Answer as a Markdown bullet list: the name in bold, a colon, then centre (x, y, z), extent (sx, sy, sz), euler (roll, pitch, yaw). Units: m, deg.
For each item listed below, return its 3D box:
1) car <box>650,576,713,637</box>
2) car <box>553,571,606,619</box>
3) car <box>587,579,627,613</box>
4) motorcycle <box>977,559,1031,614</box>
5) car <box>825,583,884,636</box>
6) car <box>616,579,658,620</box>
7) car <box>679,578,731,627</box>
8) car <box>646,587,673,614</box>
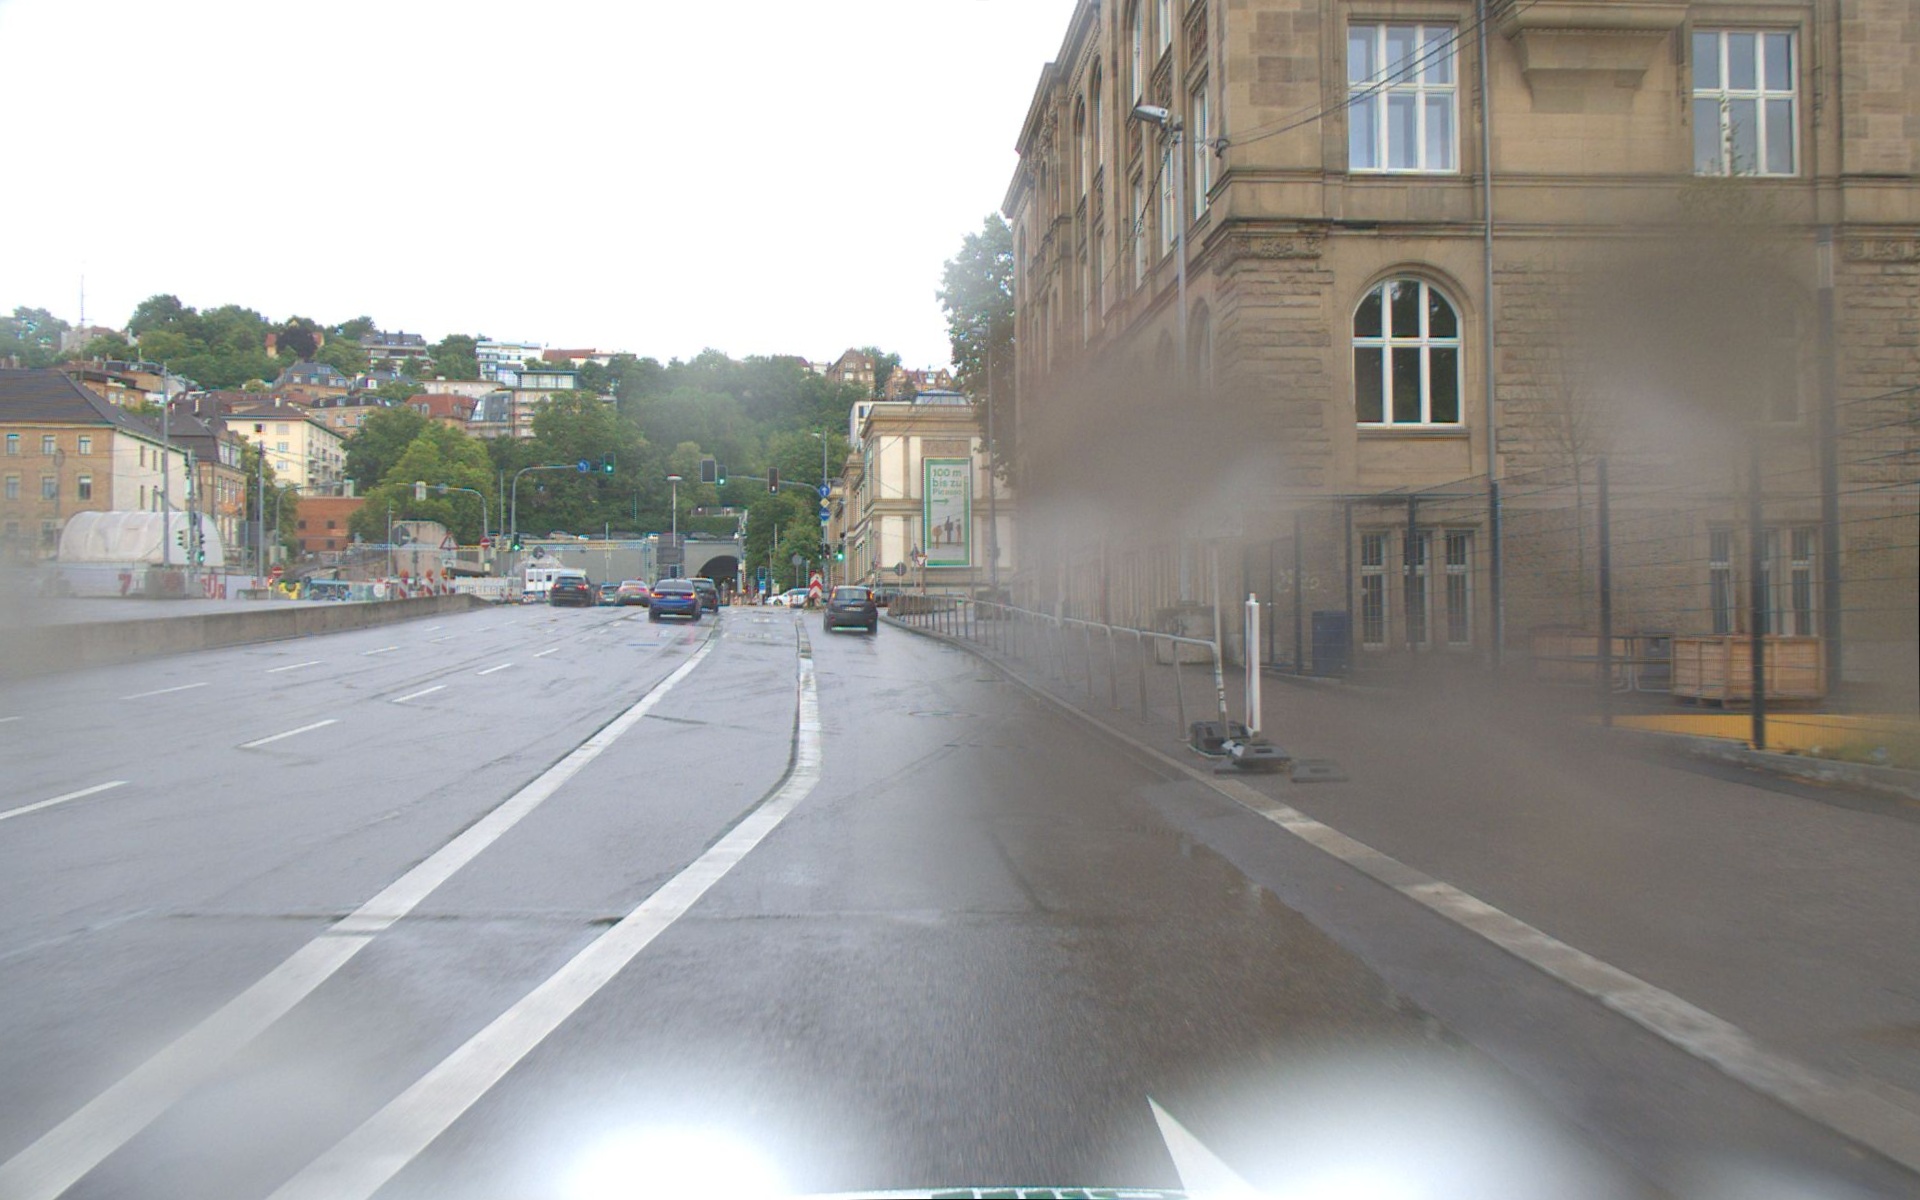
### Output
- **car**: centre (-10.206, 0.285, 60.897), extent (2.065, 2.086, 3.993), euler (-1, -2, -7)
- **car**: centre (-17.913, -0.210, 78.019), extent (1.978, 2.049, 3.993), euler (-1, -2, -7)
- **car**: centre (-22.481, -0.238, 105.569), extent (1.954, 2.049, 3.996), euler (-1, -2, -5)
- **motorcycle**: centre (1.677, -0.527, 63.645), extent (1.760, 2.049, 3.811), euler (0, 1, -3)
- **car**: centre (-3.409, 0.341, 52.945), extent (1.777, 1.553, 3.996), euler (-2, -1, -5)
- **car**: centre (-17.701, 0.004, 90.746), extent (2.013, 2.049, 3.992), euler (-1, -2, -8)
- **car**: centre (-11.384, 0.146, 74.113), extent (1.740, 2.049, 3.998), euler (-1, -2, -1)
- **car**: centre (-23.442, 0.055, 129.039), extent (1.957, 2.049, 3.990), euler (-1, -1, -10)
